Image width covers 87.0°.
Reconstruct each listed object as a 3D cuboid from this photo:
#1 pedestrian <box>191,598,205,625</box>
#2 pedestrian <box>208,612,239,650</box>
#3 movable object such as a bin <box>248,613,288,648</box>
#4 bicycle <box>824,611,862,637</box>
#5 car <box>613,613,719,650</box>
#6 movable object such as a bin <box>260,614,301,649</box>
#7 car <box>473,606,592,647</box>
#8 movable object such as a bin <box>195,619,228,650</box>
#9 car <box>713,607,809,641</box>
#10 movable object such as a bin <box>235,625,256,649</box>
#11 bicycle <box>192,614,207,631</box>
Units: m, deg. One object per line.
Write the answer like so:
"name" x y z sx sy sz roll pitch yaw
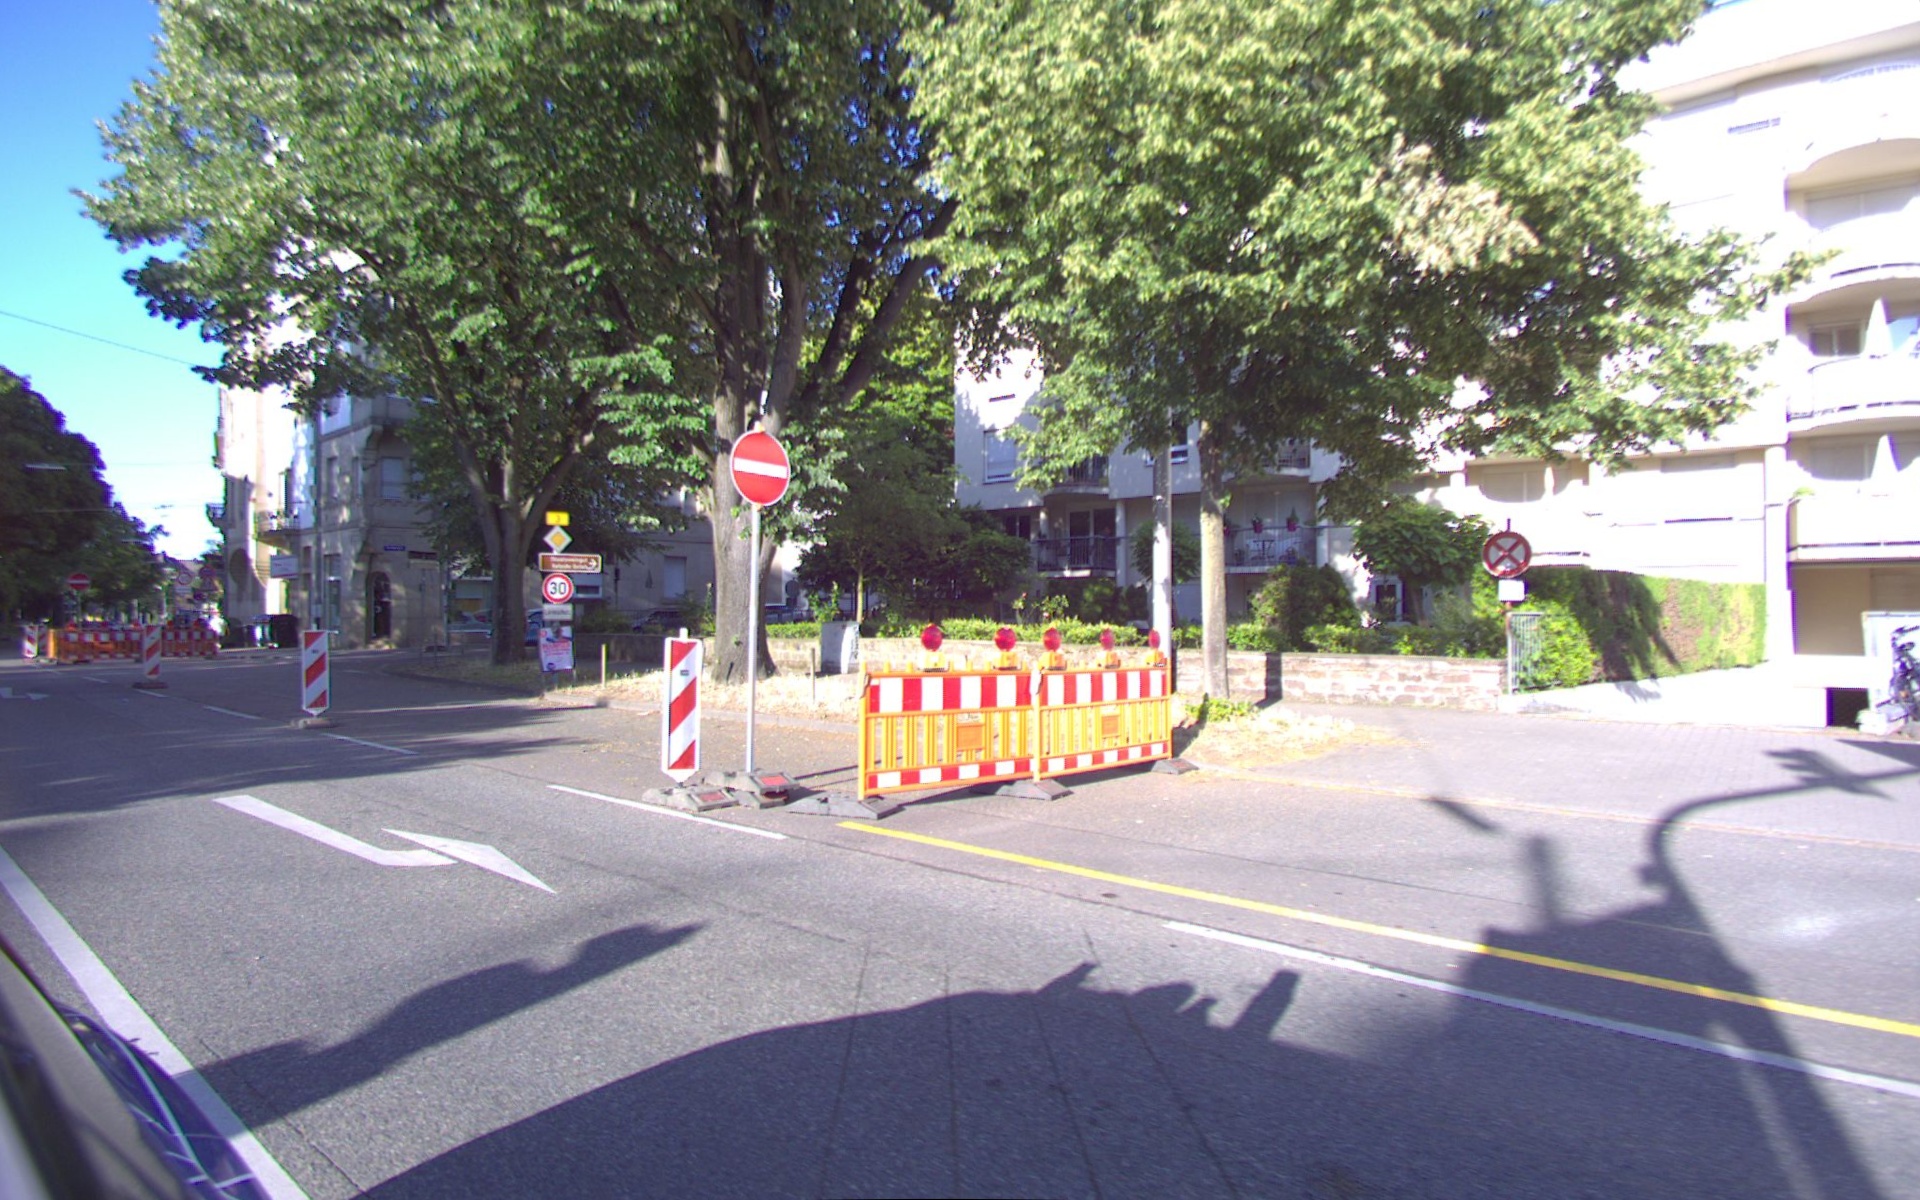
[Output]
"pedestrian" -44.958 0.676 59.739 0.591 1.567 0.617 -1 0 -40
"pedestrian" -32.221 1.340 44.281 0.915 1.615 0.813 -2 0 37
"movable object such as a bin" -29.897 1.323 43.742 1.406 1.442 1.071 -1 0 40
"bicycle" -4.872 0.979 41.971 0.913 1.017 1.940 -1 0 -27
"car" -12.657 1.326 43.632 2.001 1.497 3.942 -1 -1 44
"movable object such as a bin" -28.763 1.323 42.841 1.344 1.442 1.071 -1 0 40
"car" -16.988 1.037 40.297 2.001 1.564 3.942 -1 -1 44
"movable object such as a bin" -35.949 1.632 48.614 1.067 1.442 1.411 -1 0 -30
"car" -9.229 1.103 47.092 2.001 1.497 3.942 -1 -1 44
"movable object such as a bin" -32.127 1.647 45.503 0.764 1.049 0.629 -2 0 45
"bicycle" -44.894 1.318 59.711 0.592 0.939 1.476 -2 0 -40
